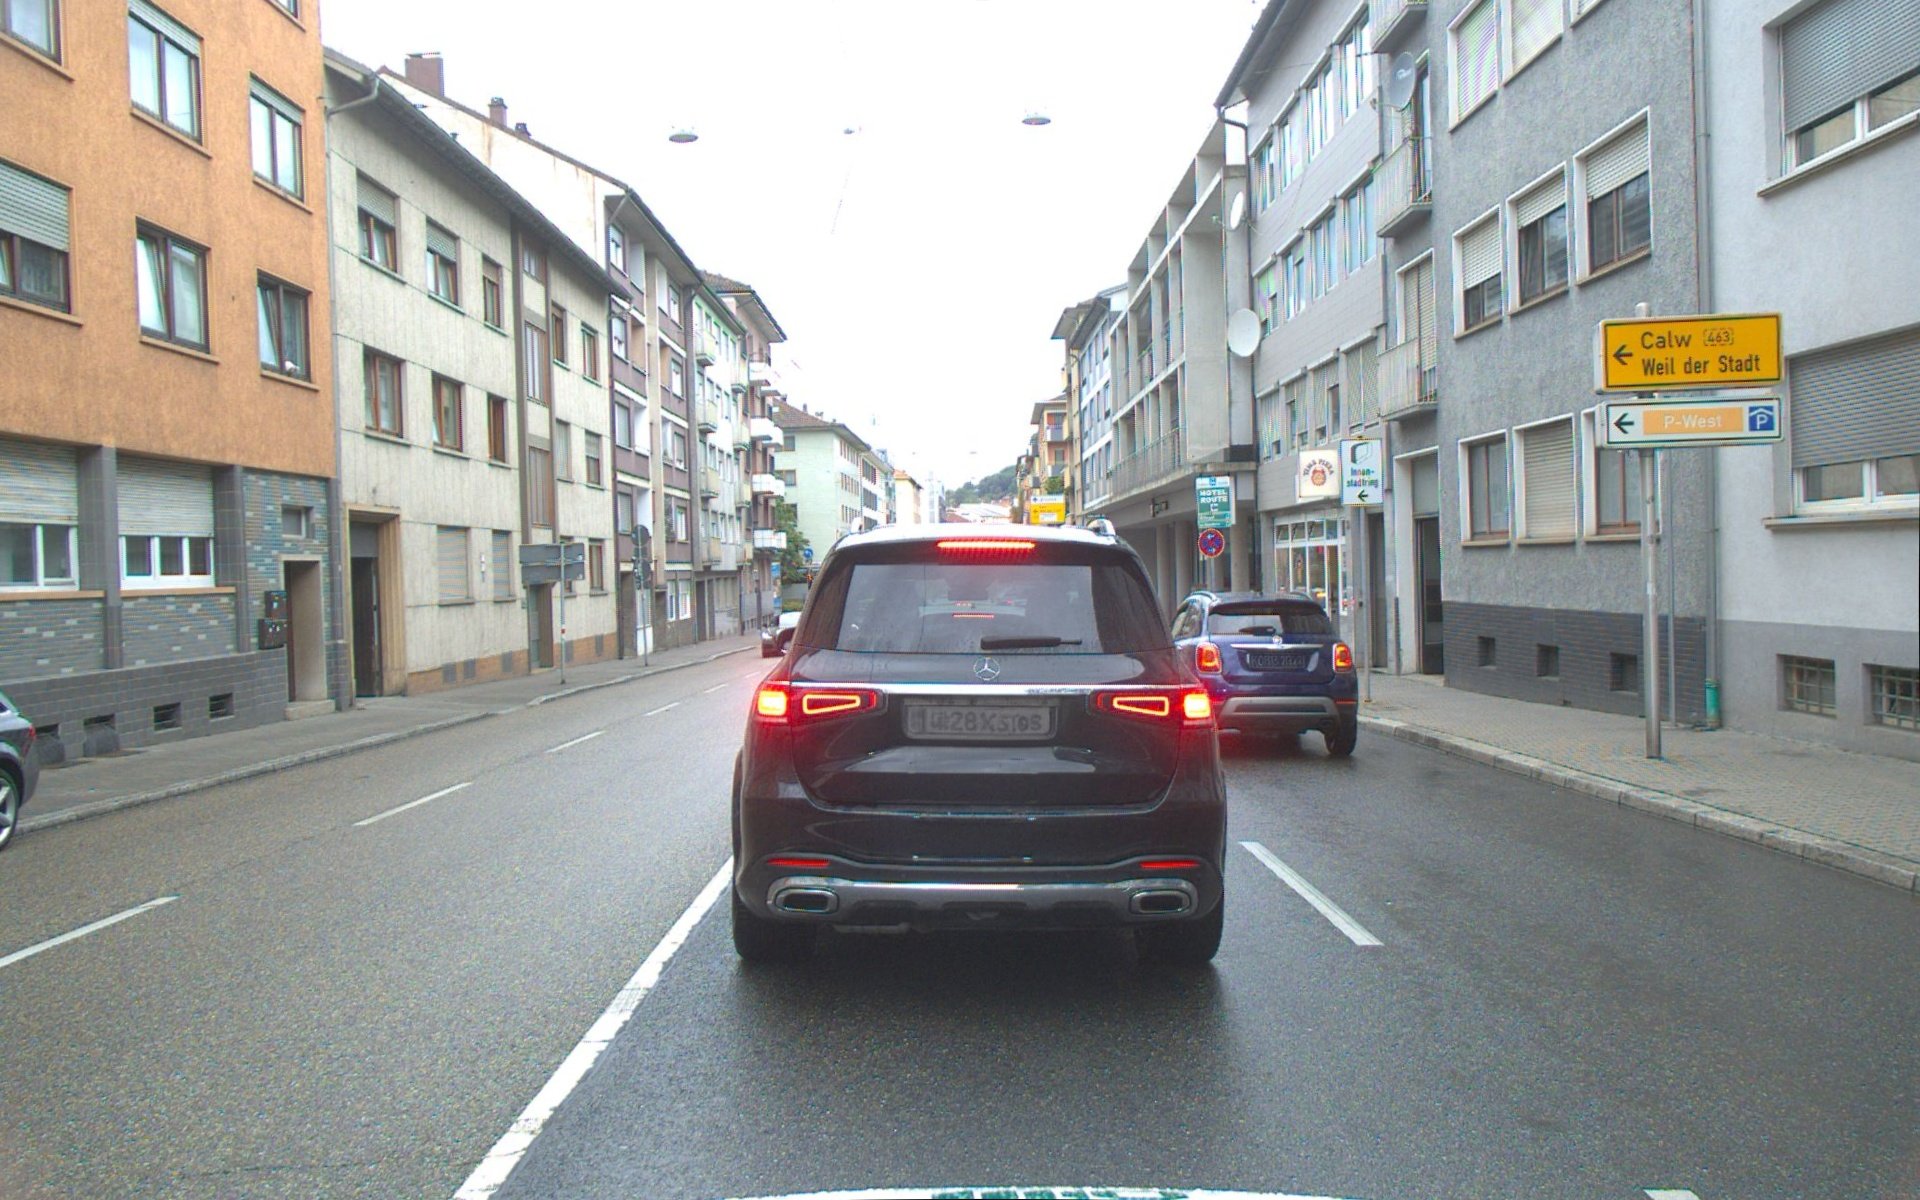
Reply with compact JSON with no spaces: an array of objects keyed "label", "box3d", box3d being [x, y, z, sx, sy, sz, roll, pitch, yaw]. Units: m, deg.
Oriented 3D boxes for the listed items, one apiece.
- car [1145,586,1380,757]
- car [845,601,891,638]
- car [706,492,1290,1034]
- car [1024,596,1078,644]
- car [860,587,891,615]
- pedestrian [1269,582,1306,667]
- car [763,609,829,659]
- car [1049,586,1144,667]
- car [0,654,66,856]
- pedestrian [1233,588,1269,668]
[{"label":"car","box3d":[3.095,0.675,17.695,1.731,1.608,3.999,0,0,-1]},{"label":"car","box3d":[-3.837,0.796,69.620,1.690,1.414,4.338,-3,0,-1]},{"label":"car","box3d":[0.090,0.563,7.703,1.984,1.837,3.999,1,0,-1]},{"label":"car","box3d":[3.210,0.686,59.147,1.770,1.634,4.212,0,0,1]},{"label":"car","box3d":[-5.280,0.077,103.910,1.698,1.602,4.010,-5,0,-1]},{"label":"pedestrian","box3d":[6.382,0.474,32.281,0.548,1.606,0.526,-4,0,5]},{"label":"car","box3d":[-5.263,1.066,53.438,1.732,1.369,3.887,-5,0,-2]},{"label":"car","box3d":[3.177,0.585,39.343,1.900,1.806,4.746,0,0,0]},{"label":"car","box3d":[-7.971,1.158,10.905,1.759,1.463,4.525,1,0,-1]},{"label":"pedestrian","box3d":[5.679,0.539,32.314,0.496,1.526,0.562,-4,0,-3]}]
